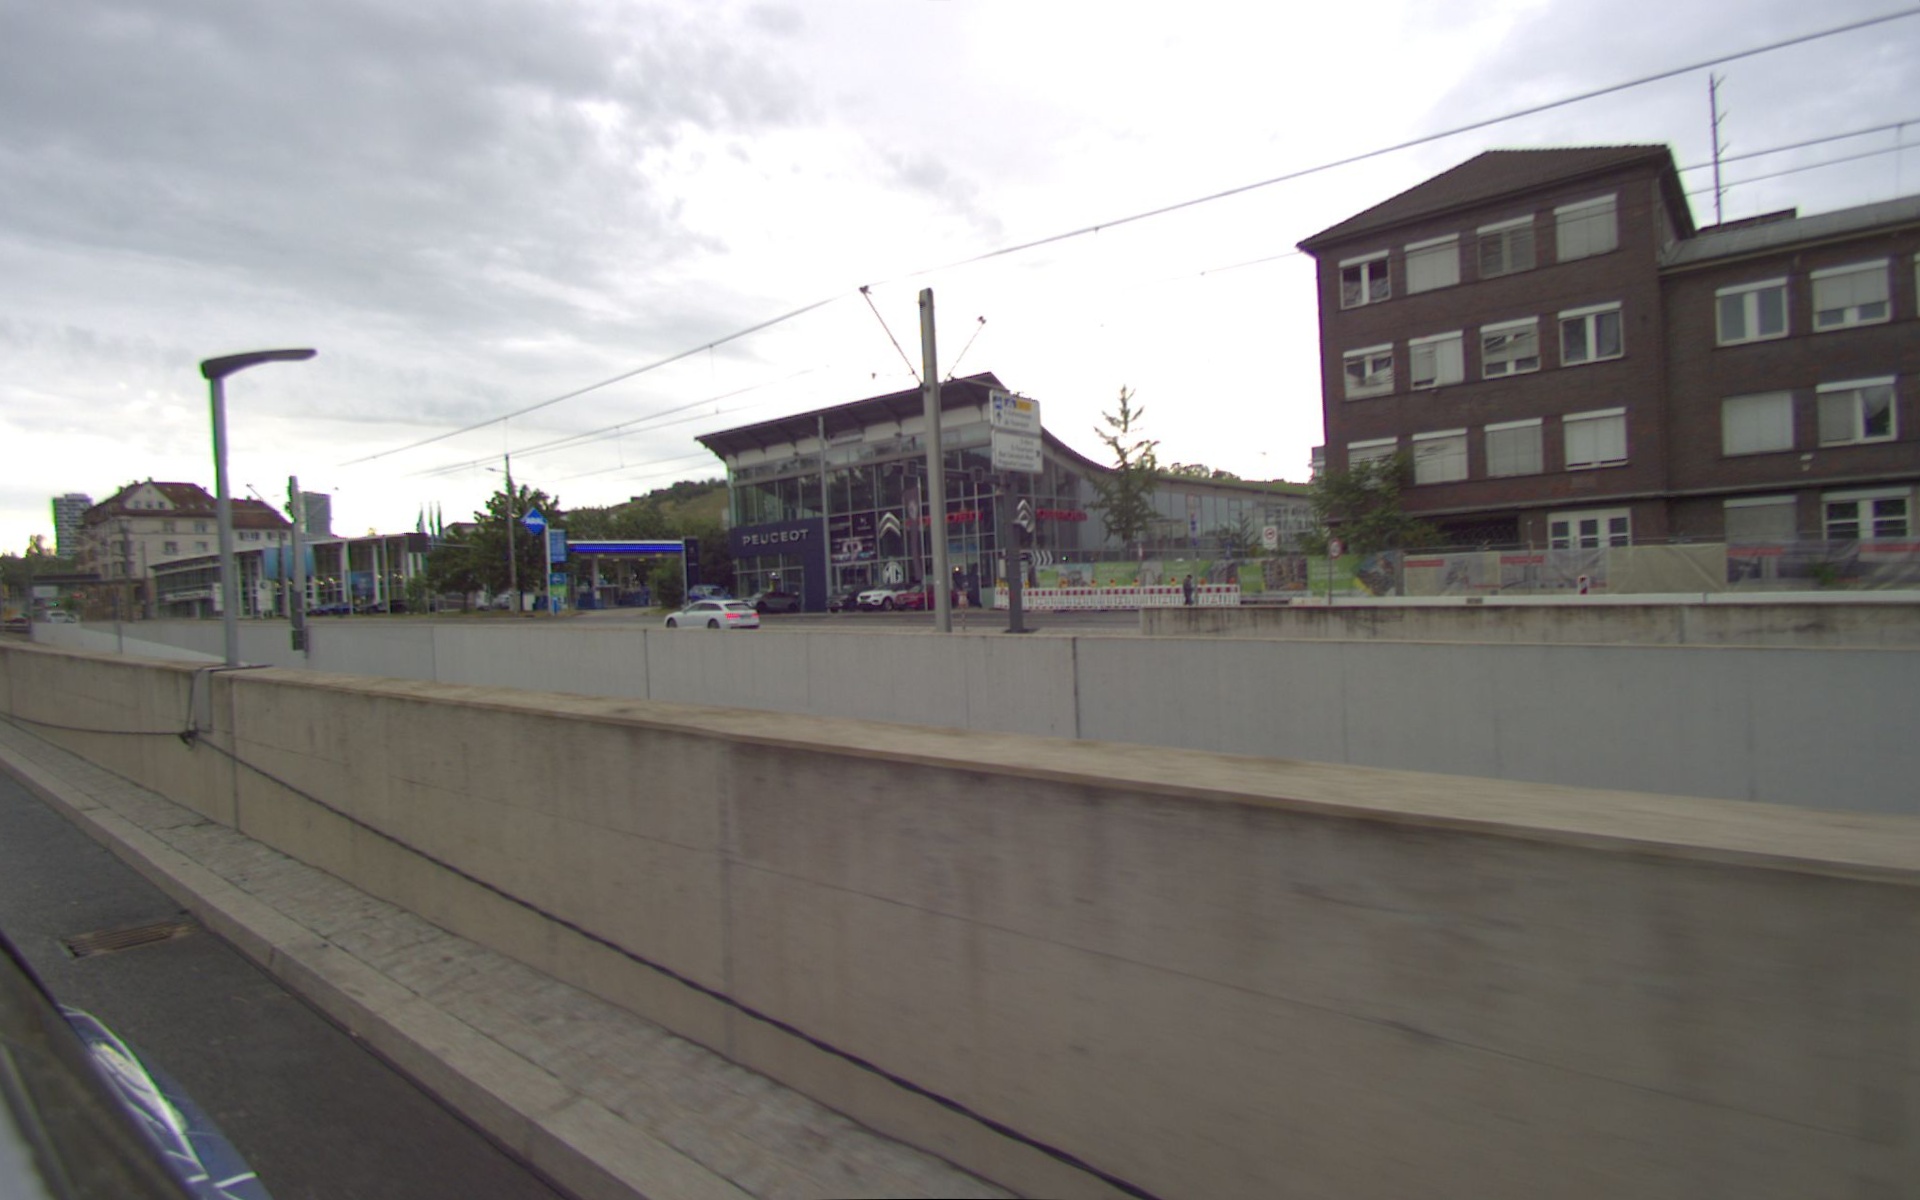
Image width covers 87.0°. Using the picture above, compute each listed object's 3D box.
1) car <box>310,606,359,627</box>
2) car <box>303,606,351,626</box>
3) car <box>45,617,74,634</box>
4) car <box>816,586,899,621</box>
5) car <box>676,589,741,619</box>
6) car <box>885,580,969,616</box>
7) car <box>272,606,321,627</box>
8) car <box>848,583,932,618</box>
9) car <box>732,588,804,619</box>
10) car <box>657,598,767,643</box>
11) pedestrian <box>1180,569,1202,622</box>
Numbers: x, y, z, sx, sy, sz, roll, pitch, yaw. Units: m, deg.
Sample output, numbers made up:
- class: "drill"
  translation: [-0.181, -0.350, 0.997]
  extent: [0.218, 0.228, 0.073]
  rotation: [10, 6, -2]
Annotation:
- class: "car"
  translation: [-65.667, 1.696, 106.290]
  extent: [1.999, 2.029, 3.945]
  rotation: [-2, 1, 41]
- class: "car"
  translation: [-67.510, 1.698, 107.947]
  extent: [1.999, 2.029, 3.945]
  rotation: [-2, 1, 41]
- class: "car"
  translation: [-114.307, 3.272, 128.457]
  extent: [3.997, 2.029, 2.242]
  rotation: [-2, 0, 40]
- class: "car"
  translation: [-5.711, 0.194, 57.041]
  extent: [1.998, 1.773, 4.520]
  rotation: [-2, 1, 40]
- class: "car"
  translation: [-15.993, 0.278, 64.380]
  extent: [3.995, 1.785, 1.974]
  rotation: [-2, 1, 39]
- class: "car"
  translation: [-1.712, -0.123, 54.193]
  extent: [1.998, 1.773, 4.520]
  rotation: [-2, 1, 40]
- class: "car"
  translation: [-70.953, 1.757, 108.276]
  extent: [1.999, 2.029, 3.945]
  rotation: [-2, 1, 41]
- class: "car"
  translation: [-3.779, 0.001, 55.412]
  extent: [1.998, 1.773, 4.520]
  rotation: [-2, 1, 40]
- class: "car"
  translation: [-11.742, 0.195, 62.053]
  extent: [1.999, 1.785, 3.947]
  rotation: [-2, 1, 40]
- class: "car"
  translation: [-10.457, 0.868, 42.589]
  extent: [4.574, 1.729, 2.093]
  rotation: [-2, 0, 38]
- class: "pedestrian"
  translation: [9.072, -0.177, 39.725]
  extent: [0.720, 2.029, 0.580]
  rotation: [-1, 0, 3]
